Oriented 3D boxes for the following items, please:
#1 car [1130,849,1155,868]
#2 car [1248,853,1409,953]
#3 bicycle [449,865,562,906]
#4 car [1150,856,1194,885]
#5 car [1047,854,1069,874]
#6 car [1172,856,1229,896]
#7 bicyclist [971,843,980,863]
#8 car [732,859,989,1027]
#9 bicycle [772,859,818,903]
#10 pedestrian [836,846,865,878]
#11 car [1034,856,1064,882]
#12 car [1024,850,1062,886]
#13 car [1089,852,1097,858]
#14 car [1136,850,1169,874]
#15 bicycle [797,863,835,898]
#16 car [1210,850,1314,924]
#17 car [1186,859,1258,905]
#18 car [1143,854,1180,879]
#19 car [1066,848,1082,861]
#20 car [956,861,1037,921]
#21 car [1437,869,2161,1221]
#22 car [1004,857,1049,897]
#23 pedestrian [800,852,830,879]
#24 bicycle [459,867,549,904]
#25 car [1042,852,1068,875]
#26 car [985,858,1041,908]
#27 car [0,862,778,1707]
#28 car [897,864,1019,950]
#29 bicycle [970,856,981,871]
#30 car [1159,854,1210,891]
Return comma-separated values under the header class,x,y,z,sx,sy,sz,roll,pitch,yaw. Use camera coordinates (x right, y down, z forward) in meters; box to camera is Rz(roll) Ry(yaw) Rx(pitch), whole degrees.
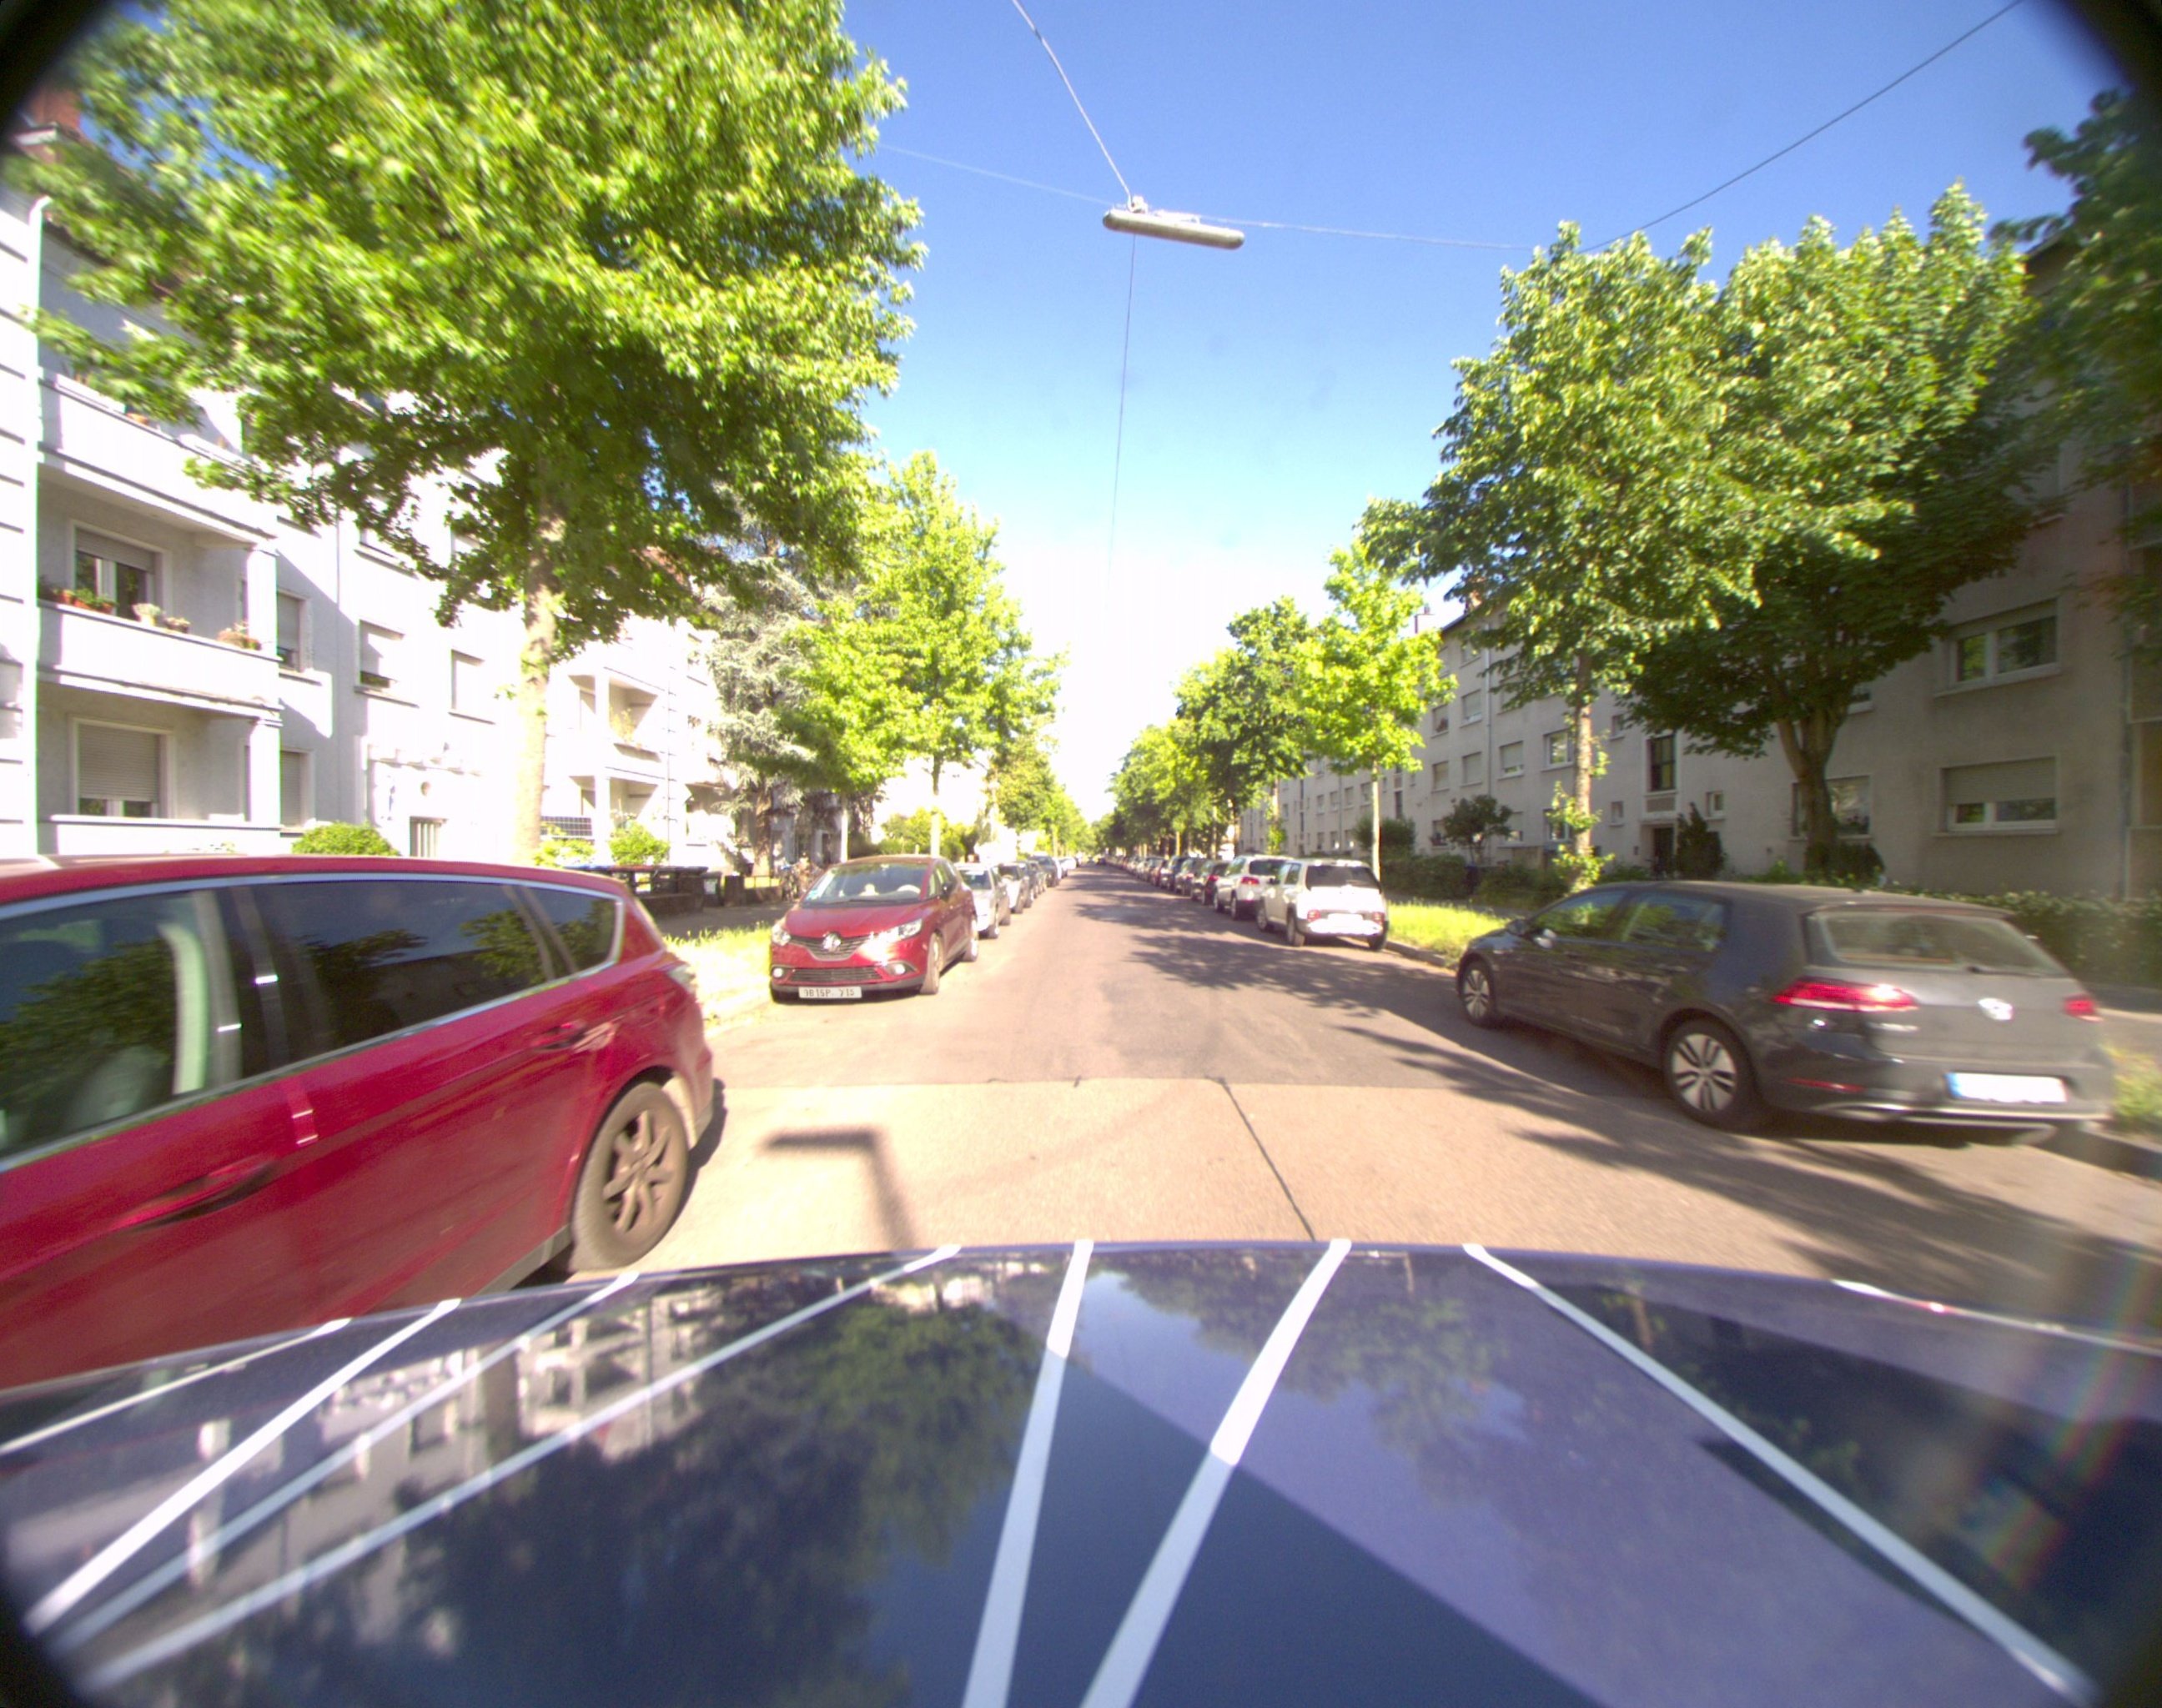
class,x,y,z,sx,sy,sz,roll,pitch,yaw
car,5.146,0.341,64.355,1.768,1.487,4.014,-3,1,0
car,4.529,0.817,14.565,1.721,1.517,3.999,-3,1,0
bicycle,-13.233,0.721,17.500,2.065,0.765,0.626,-4,1,1
car,4.778,0.865,40.490,1.879,1.367,4.068,0,1,0
car,-1.819,0.783,59.705,1.609,1.402,3.669,-3,1,-1
car,4.727,0.834,30.495,1.653,1.437,3.966,0,1,0
bicyclist,-7.108,-0.102,51.229,0.497,1.331,0.719,1,2,1
car,-2.524,0.919,10.011,1.934,1.558,4.593,1,1,1
bicycle,-8.536,0.788,22.754,0.490,1.190,2.175,-3,1,0
pedestrian,-10.039,0.337,33.068,1.038,1.370,0.714,-1,1,-34
car,-2.038,0.932,49.465,1.769,1.487,3.932,-3,1,-1
car,-1.938,0.670,39.301,1.769,1.627,4.014,-3,1,-1
car,2.959,0.264,187.574,1.769,1.486,3.782,0,0,-1
car,4.923,0.499,52.673,1.879,1.553,4.182,0,1,0
bicycle,-8.797,0.868,25.319,0.433,1.006,2.248,-6,1,-1
car,4.582,0.765,19.833,1.707,1.670,4.223,0,1,0
car,4.661,0.875,25.700,1.662,1.384,4.236,0,0,0
car,4.909,0.757,47.040,1.879,1.367,4.182,0,1,0
car,-0.840,0.025,95.792,1.891,1.624,3.888,0,0,1
car,-2.323,0.988,21.802,1.768,1.389,3.695,-3,1,1
car,4.399,0.917,5.515,1.664,1.387,4.091,-3,1,0
car,-2.253,0.914,32.156,1.609,1.416,4.014,-3,1,-1
pedestrian,-11.484,0.496,32.870,1.036,1.136,0.716,-2,1,-5
bicycle,-15.160,0.823,19.975,2.034,0.913,0.559,0,2,5
car,-1.870,0.657,54.949,1.769,1.487,4.014,-3,1,-1
car,-2.300,0.952,26.546,1.609,1.456,3.870,-3,1,-1
car,-2.672,0.912,1.575,1.903,1.604,4.972,-1,1,2
car,-2.386,0.979,15.836,1.715,1.399,4.490,0,1,1
bicycle,-7.111,0.621,51.156,0.459,0.956,1.787,1,1,1
car,4.757,0.811,35.410,1.820,1.576,4.408,0,0,0
